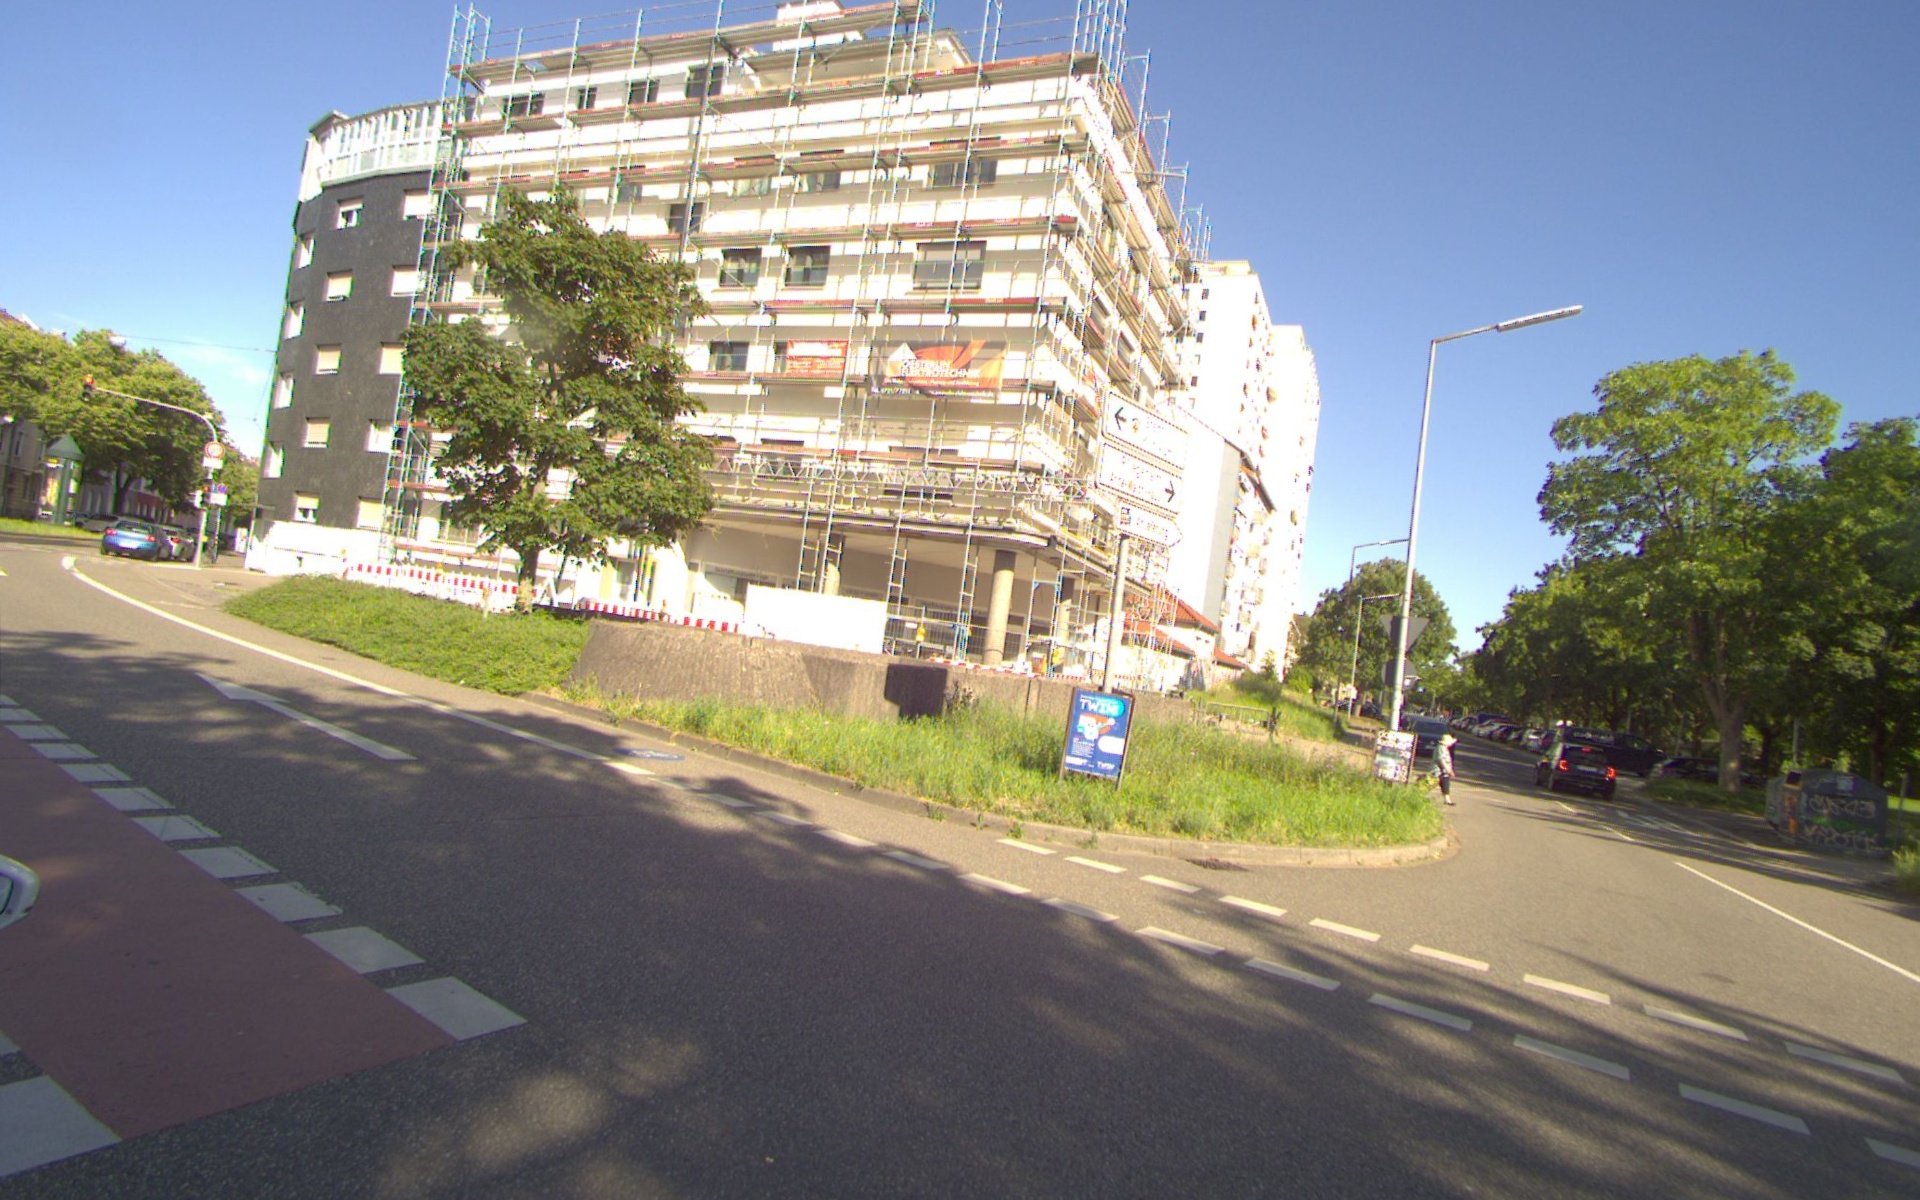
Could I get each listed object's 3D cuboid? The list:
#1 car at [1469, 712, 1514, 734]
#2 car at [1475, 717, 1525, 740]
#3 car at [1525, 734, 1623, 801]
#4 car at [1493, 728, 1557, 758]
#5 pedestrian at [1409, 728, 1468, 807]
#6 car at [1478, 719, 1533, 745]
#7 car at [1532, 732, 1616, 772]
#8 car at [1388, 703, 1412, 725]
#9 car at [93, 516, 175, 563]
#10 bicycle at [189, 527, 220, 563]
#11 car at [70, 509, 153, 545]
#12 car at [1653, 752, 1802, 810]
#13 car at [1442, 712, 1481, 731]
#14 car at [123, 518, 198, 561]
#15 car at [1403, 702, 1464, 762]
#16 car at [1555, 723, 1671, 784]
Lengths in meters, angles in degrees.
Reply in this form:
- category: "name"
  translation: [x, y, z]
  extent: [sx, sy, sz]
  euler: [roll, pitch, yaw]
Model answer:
- category: "car"
  translation: [56.463, 13.071, 106.981]
  extent: [3.928, 1.674, 2.002]
  euler: [6, -4, 24]
- category: "car"
  translation: [52.170, 12.416, 97.287]
  extent: [3.928, 1.674, 2.002]
  euler: [6, -4, 24]
- category: "car"
  translation: [18.889, 5.121, 31.113]
  extent: [1.648, 1.520, 3.566]
  euler: [7, -2, 18]
- category: "car"
  translation: [43.339, 10.972, 77.286]
  extent: [3.928, 1.674, 2.002]
  euler: [6, -4, 24]
- category: "pedestrian"
  translation: [10.256, 3.579, 21.587]
  extent: [0.892, 1.514, 0.652]
  euler: [7, -2, 19]
- category: "car"
  translation: [47.989, 11.641, 88.538]
  extent: [3.928, 1.674, 2.002]
  euler: [6, -4, 24]
- category: "car"
  translation: [36.159, 8.929, 59.363]
  extent: [3.931, 1.674, 2.001]
  euler: [6, -4, 28]
- category: "car"
  translation: [44.884, 11.663, 102.671]
  extent: [1.965, 1.676, 4.010]
  euler: [6, -8, 26]
- category: "car"
  translation: [-32.407, -2.332, 39.575]
  extent: [1.763, 1.458, 3.590]
  euler: [10, -3, -30]
- category: "bicycle"
  translation: [-34.523, -2.504, 45.995]
  extent: [0.569, 1.528, 2.787]
  euler: [9, -2, -29]
- category: "car"
  translation: [-53.797, -4.617, 63.790]
  extent: [3.924, 1.612, 1.913]
  euler: [8, -2, 14]
- category: "car"
  translation: [26.888, 6.333, 35.425]
  extent: [3.937, 1.311, 1.998]
  euler: [5, -4, 35]
- category: "car"
  translation: [59.706, 14.495, 119.911]
  extent: [3.928, 1.674, 2.002]
  euler: [6, -4, 24]
- category: "car"
  translation: [-34.772, -2.606, 43.863]
  extent: [1.806, 1.525, 3.970]
  euler: [9, -2, -29]
- category: "car"
  translation: [19.335, 5.352, 41.199]
  extent: [1.964, 2.036, 4.002]
  euler: [7, -3, 25]
- category: "car"
  translation: [30.888, 7.239, 47.729]
  extent: [4.278, 2.096, 1.999]
  euler: [7, -2, 30]
